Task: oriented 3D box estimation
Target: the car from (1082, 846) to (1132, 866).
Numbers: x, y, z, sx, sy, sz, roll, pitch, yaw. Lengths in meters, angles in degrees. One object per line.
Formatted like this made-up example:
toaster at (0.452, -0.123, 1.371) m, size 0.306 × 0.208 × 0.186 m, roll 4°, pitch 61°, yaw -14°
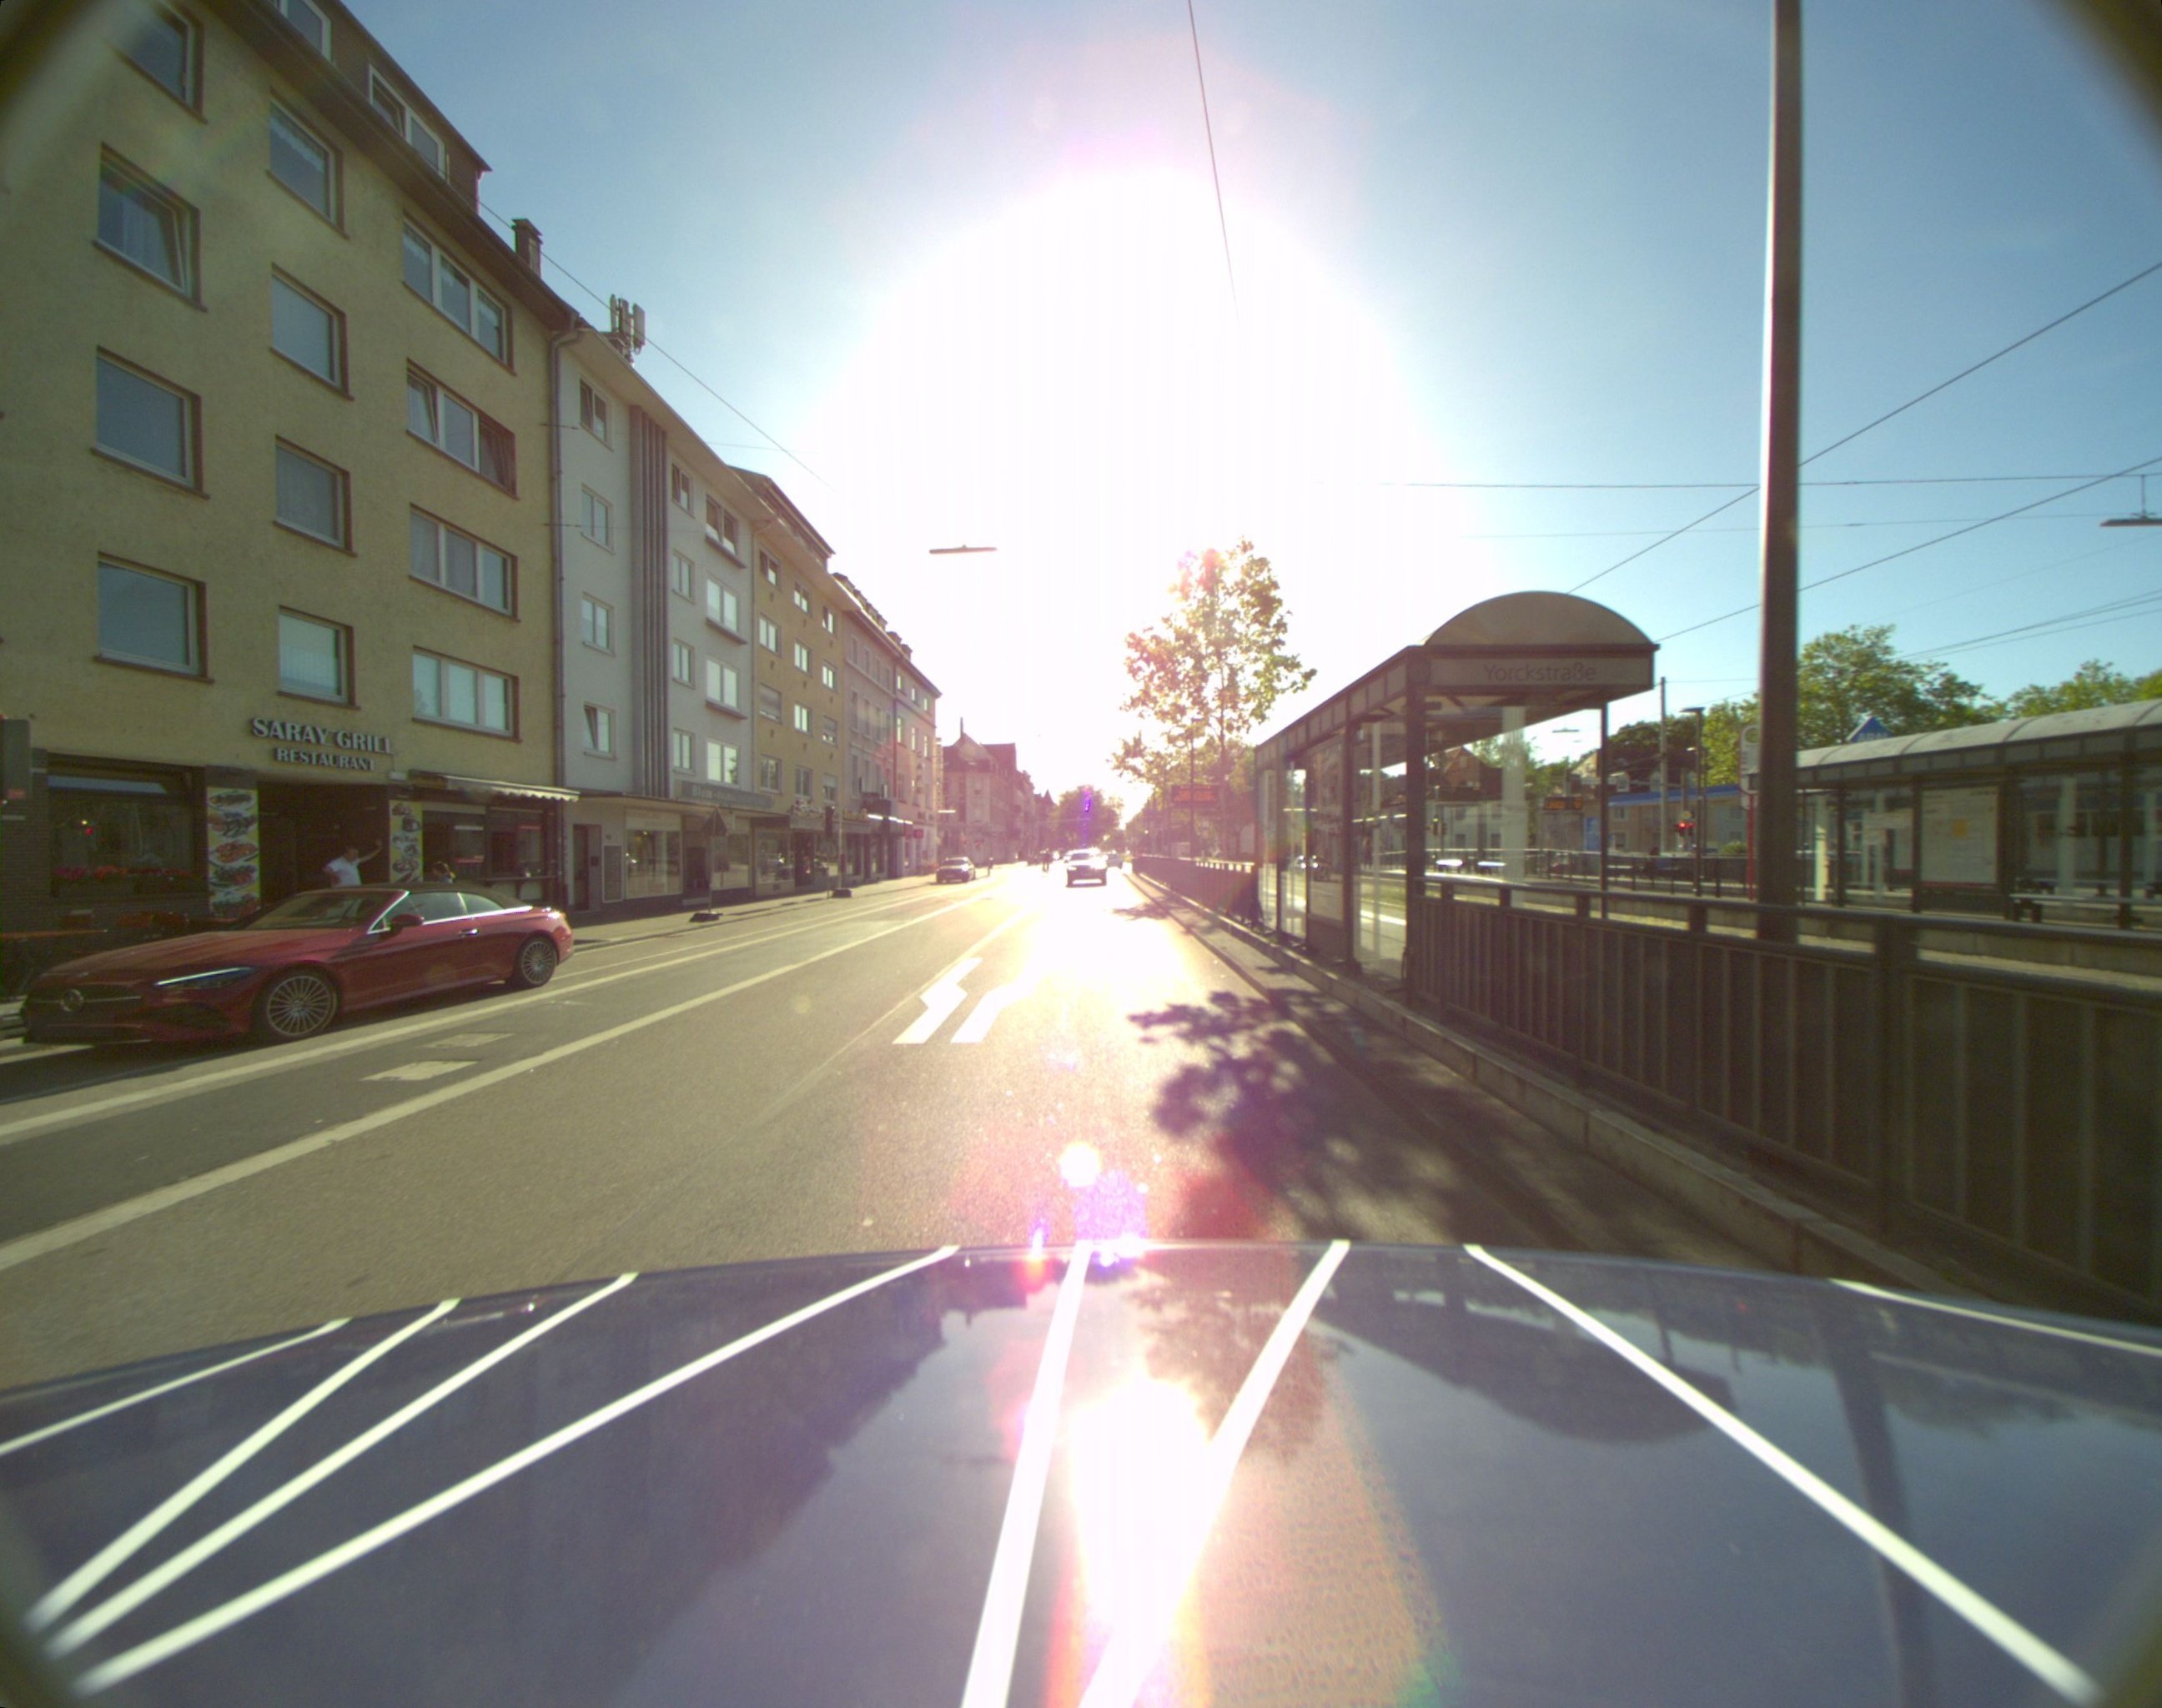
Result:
car at (2.184, 0.127, 63.035) m, size 1.994 × 1.595 × 4.281 m, roll 0°, pitch 1°, yaw 38°

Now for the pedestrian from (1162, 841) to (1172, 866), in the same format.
pedestrian at (6.297, -0.008, 55.725) m, size 0.651 × 1.821 × 0.808 m, roll -1°, pitch 1°, yaw 4°

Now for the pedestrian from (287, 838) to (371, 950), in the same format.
pedestrian at (-12.880, 0.655, 13.048) m, size 0.732 × 1.844 × 0.899 m, roll -1°, pitch 1°, yaw -27°

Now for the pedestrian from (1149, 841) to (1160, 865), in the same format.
pedestrian at (5.272, -0.075, 54.619) m, size 0.743 × 1.680 × 0.776 m, roll -1°, pitch 1°, yaw 4°

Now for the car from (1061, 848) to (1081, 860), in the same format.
car at (-1.399, -0.023, 106.148) m, size 2.294 × 1.566 × 4.595 m, roll -1°, pitch 1°, yaw 6°

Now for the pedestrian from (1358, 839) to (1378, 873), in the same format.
pedestrian at (13.727, 0.091, 36.396) m, size 0.686 × 1.583 × 0.735 m, roll -1°, pitch 1°, yaw 2°

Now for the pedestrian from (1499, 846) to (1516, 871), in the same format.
pedestrian at (28.628, 0.312, 51.024) m, size 0.653 × 1.680 × 0.826 m, roll -1°, pitch 1°, yaw -7°

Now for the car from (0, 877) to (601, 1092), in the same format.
car at (-7.994, 1.098, 8.445) m, size 1.876 × 1.434 × 5.159 m, roll -1°, pitch 1°, yaw 2°

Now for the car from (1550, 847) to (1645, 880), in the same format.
car at (23.739, 0.382, 35.114) m, size 1.802 × 1.412 × 4.000 m, roll -1°, pitch 1°, yaw 3°

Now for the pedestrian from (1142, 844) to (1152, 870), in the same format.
pedestrian at (4.615, 0.184, 53.139) m, size 0.637 × 1.817 × 0.776 m, roll -1°, pitch 1°, yaw 4°

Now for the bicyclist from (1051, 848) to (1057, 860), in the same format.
bicyclist at (-3.581, -0.036, 101.052) m, size 0.696 × 1.596 × 0.745 m, roll -1°, pitch 1°, yaw 6°

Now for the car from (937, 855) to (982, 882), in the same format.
car at (-7.293, 0.812, 45.988) m, size 1.904 × 1.421 × 4.715 m, roll -2°, pitch 1°, yaw 0°

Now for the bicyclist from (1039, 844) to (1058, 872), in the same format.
bicyclist at (-2.230, 0.285, 52.492) m, size 1.005 × 1.872 × 0.991 m, roll -1°, pitch 1°, yaw -26°

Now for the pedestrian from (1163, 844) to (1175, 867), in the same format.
pedestrian at (6.341, 0.101, 54.717) m, size 0.803 × 1.680 × 1.008 m, roll -1°, pitch 1°, yaw 4°

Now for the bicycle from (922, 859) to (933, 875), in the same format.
bicycle at (-10.780, 0.891, 53.214) m, size 0.697 × 1.102 × 1.863 m, roll -1°, pitch 1°, yaw -13°

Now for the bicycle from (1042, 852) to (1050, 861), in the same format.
bicycle at (-4.733, 0.302, 102.656) m, size 0.693 × 1.209 × 2.299 m, roll -1°, pitch 1°, yaw 6°

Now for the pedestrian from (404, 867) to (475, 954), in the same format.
pedestrian at (-11.461, 1.001, 13.589) m, size 0.672 × 1.498 × 0.652 m, roll -1°, pitch 1°, yaw 1°

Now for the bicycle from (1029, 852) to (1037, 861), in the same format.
bicycle at (-6.304, 0.305, 100.685) m, size 0.693 × 1.209 × 2.299 m, roll -1°, pitch 1°, yaw 6°

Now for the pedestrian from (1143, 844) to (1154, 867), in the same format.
pedestrian at (4.977, 0.134, 55.843) m, size 0.799 × 1.680 × 0.776 m, roll -1°, pitch 1°, yaw 4°

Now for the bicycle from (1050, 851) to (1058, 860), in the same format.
bicycle at (-3.580, 0.207, 100.359) m, size 0.693 × 1.209 × 2.299 m, roll -1°, pitch 1°, yaw 6°

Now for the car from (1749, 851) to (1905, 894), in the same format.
car at (26.694, 0.612, 27.409) m, size 1.802 × 1.412 × 4.000 m, roll -1°, pitch 1°, yaw 3°

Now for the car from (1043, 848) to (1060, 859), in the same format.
car at (-4.781, -0.071, 122.628) m, size 2.294 × 1.717 × 4.594 m, roll -1°, pitch 1°, yaw 4°

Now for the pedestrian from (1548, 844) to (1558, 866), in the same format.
pedestrian at (38.045, 0.083, 61.250) m, size 0.493 × 1.760 × 0.522 m, roll 0°, pitch 1°, yaw 13°

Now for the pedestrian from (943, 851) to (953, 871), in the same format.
pedestrian at (-11.287, 0.627, 64.367) m, size 0.663 × 1.680 × 0.677 m, roll -1°, pitch 1°, yaw 1°

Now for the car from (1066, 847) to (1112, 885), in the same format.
car at (0.446, 0.518, 36.901) m, size 1.979 × 1.660 × 4.620 m, roll -1°, pitch 1°, yaw 3°

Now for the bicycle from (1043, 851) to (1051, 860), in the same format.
bicycle at (-4.500, 0.215, 100.363) m, size 0.693 × 1.209 × 2.299 m, roll -1°, pitch 1°, yaw 6°

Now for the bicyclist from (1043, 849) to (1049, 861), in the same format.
bicyclist at (-4.738, 0.105, 102.698) m, size 0.696 × 1.596 × 0.745 m, roll -1°, pitch 1°, yaw 6°

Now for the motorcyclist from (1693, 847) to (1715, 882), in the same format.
motorcyclist at (32.421, 0.538, 39.538) m, size 0.552 × 1.842 × 0.745 m, roll -1°, pitch 1°, yaw 5°

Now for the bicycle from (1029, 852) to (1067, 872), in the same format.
bicycle at (-2.294, 0.555, 52.475) m, size 2.382 × 1.349 × 1.020 m, roll -1°, pitch 1°, yaw -26°

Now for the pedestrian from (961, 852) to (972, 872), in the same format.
pedestrian at (-9.640, 0.665, 64.087) m, size 0.775 × 1.680 × 0.800 m, roll -1°, pitch -1°, yaw 1°

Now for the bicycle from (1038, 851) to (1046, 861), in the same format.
bicycle at (-5.192, 0.251, 100.614) m, size 0.693 × 1.209 × 2.299 m, roll -1°, pitch 1°, yaw 6°

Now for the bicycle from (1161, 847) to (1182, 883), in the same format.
bicycle at (3.562, 0.408, 29.991) m, size 0.641 × 1.371 × 2.169 m, roll -1°, pitch 1°, yaw 2°
